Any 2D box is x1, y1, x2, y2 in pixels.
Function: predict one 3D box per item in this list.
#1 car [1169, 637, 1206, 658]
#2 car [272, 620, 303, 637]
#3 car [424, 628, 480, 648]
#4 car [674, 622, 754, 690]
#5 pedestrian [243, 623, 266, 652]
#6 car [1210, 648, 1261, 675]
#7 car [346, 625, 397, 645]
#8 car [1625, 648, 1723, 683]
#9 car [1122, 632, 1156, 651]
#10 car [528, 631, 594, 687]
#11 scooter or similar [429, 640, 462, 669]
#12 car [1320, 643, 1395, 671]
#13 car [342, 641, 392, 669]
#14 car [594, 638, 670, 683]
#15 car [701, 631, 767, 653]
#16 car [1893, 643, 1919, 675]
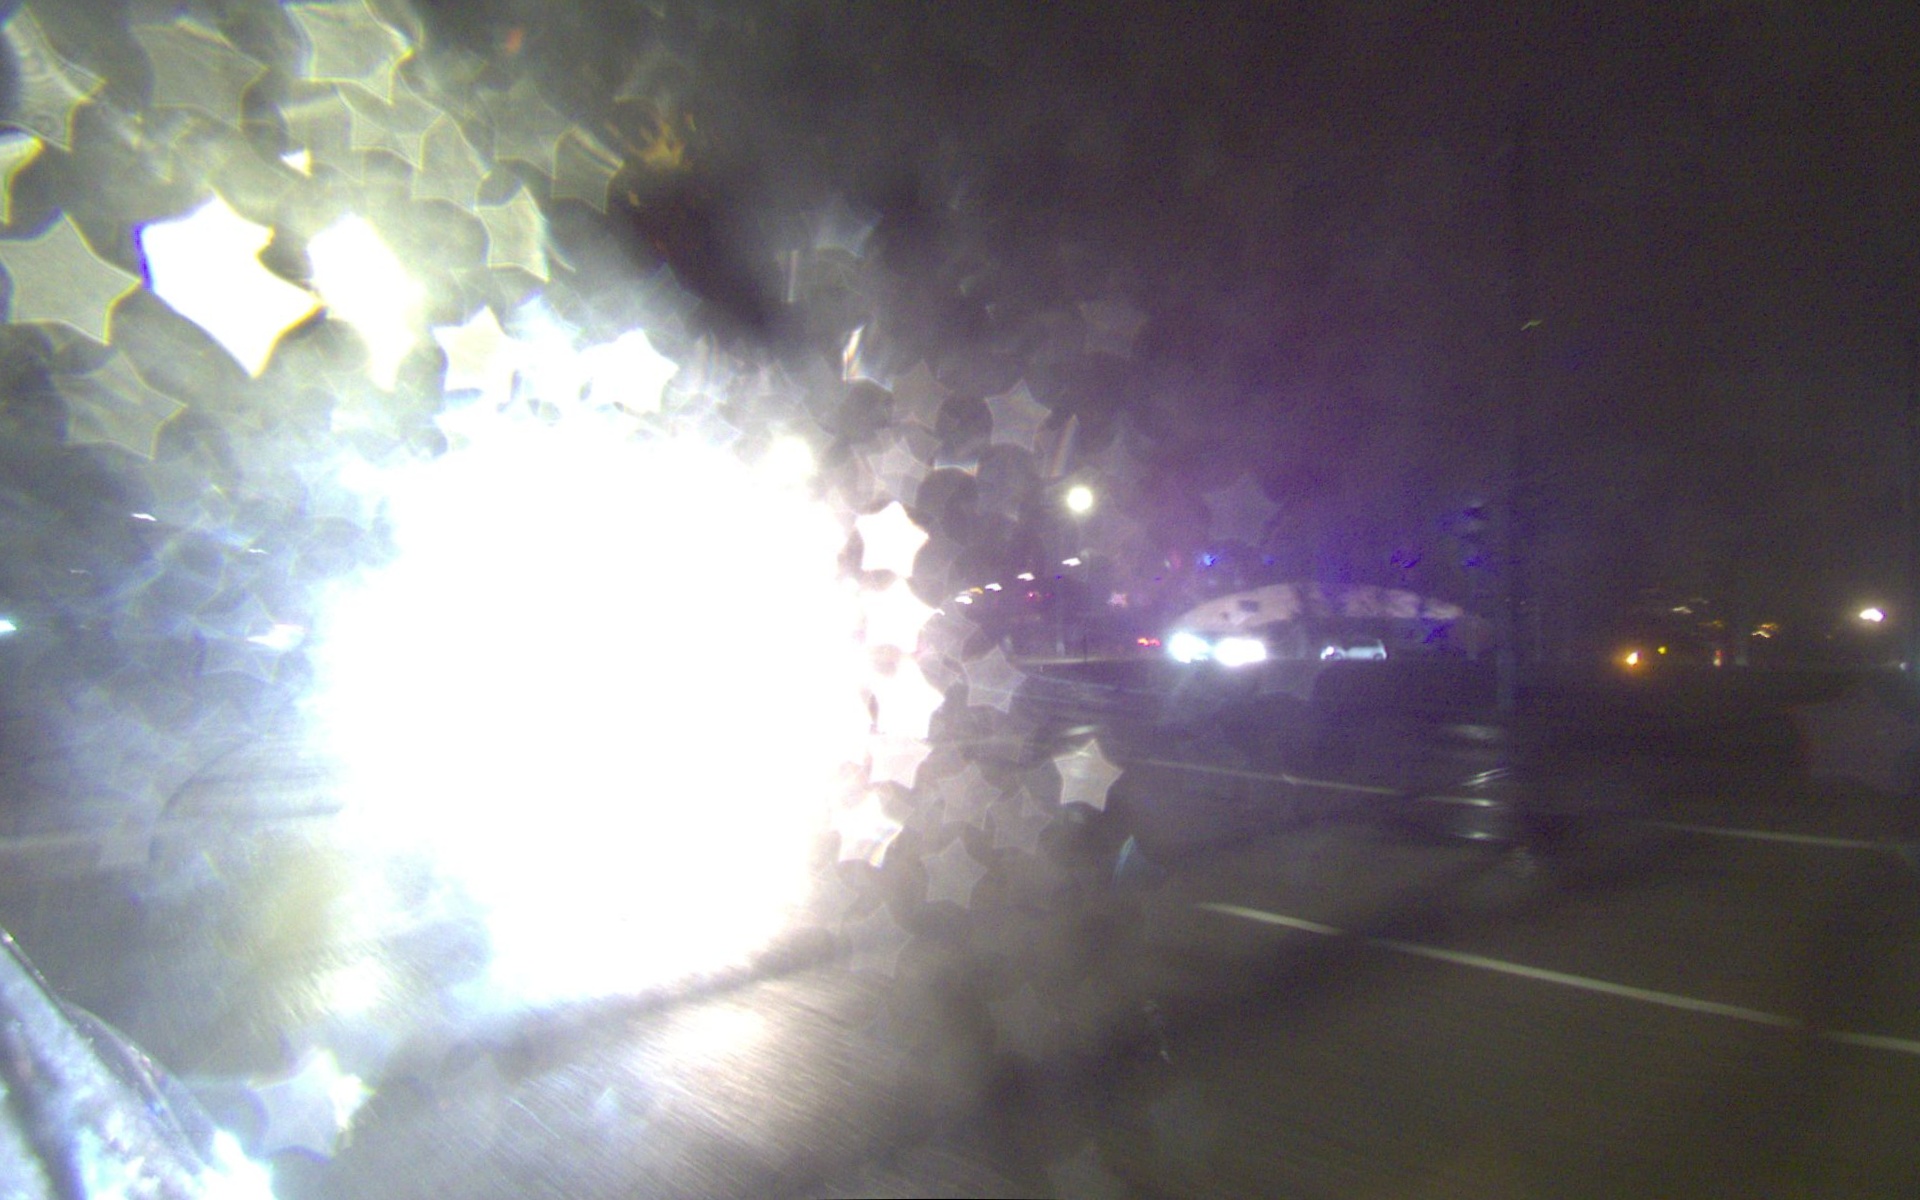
[{"bbox_3d":[18.153,3.784,81.006,1.653,1.541,4.005,0,-1,-6],"label":"car"},{"bbox_3d":[-70.038,2.956,105.313,2.038,1.729,5.048,1,-2,-41],"label":"car"},{"bbox_3d":[-45.766,3.418,91.186,5.019,1.729,2.049,-1,-2,30],"label":"car"},{"bbox_3d":[-6.269,1.349,25.897,1.804,1.538,4.887,0,-1,-13],"label":"car"},{"bbox_3d":[-36.567,1.945,52.450,0.834,1.496,0.719,-1,-2,37],"label":"pedestrian"},{"bbox_3d":[18.224,4.062,67.097,1.731,1.586,4.008,0,-1,-9],"label":"car"},{"bbox_3d":[-51.705,3.037,88.860,5.122,1.745,2.037,-1,-2,37],"label":"car"},{"bbox_3d":[36.209,3.299,51.448,3.858,1.630,1.755,-1,-2,30],"label":"car"},{"bbox_3d":[19.249,4.431,109.022,1.966,2.029,4.435,0,-1,-15],"label":"car"},{"bbox_3d":[-13.635,1.930,34.430,1.918,1.732,4.456,0,-1,-24],"label":"car"},{"bbox_3d":[-20.284,2.154,39.922,1.085,1.106,0.319,2,-2,-25],"label":"scooter or similar"},{"bbox_3d":[23.611,3.384,60.228,3.827,1.630,1.769,0,-1,8],"label":"car"},{"bbox_3d":[-34.750,3.180,59.260,3.755,1.514,1.645,-2,-2,45],"label":"car"},{"bbox_3d":[-13.801,2.473,42.403,1.805,1.719,4.204,1,-2,-36],"label":"car"},{"bbox_3d":[-14.996,2.771,67.177,3.915,1.383,1.819,-1,-1,18],"label":"car"},{"bbox_3d":[46.344,2.759,47.080,4.007,1.455,1.812,-1,-2,33],"label":"car"}]
